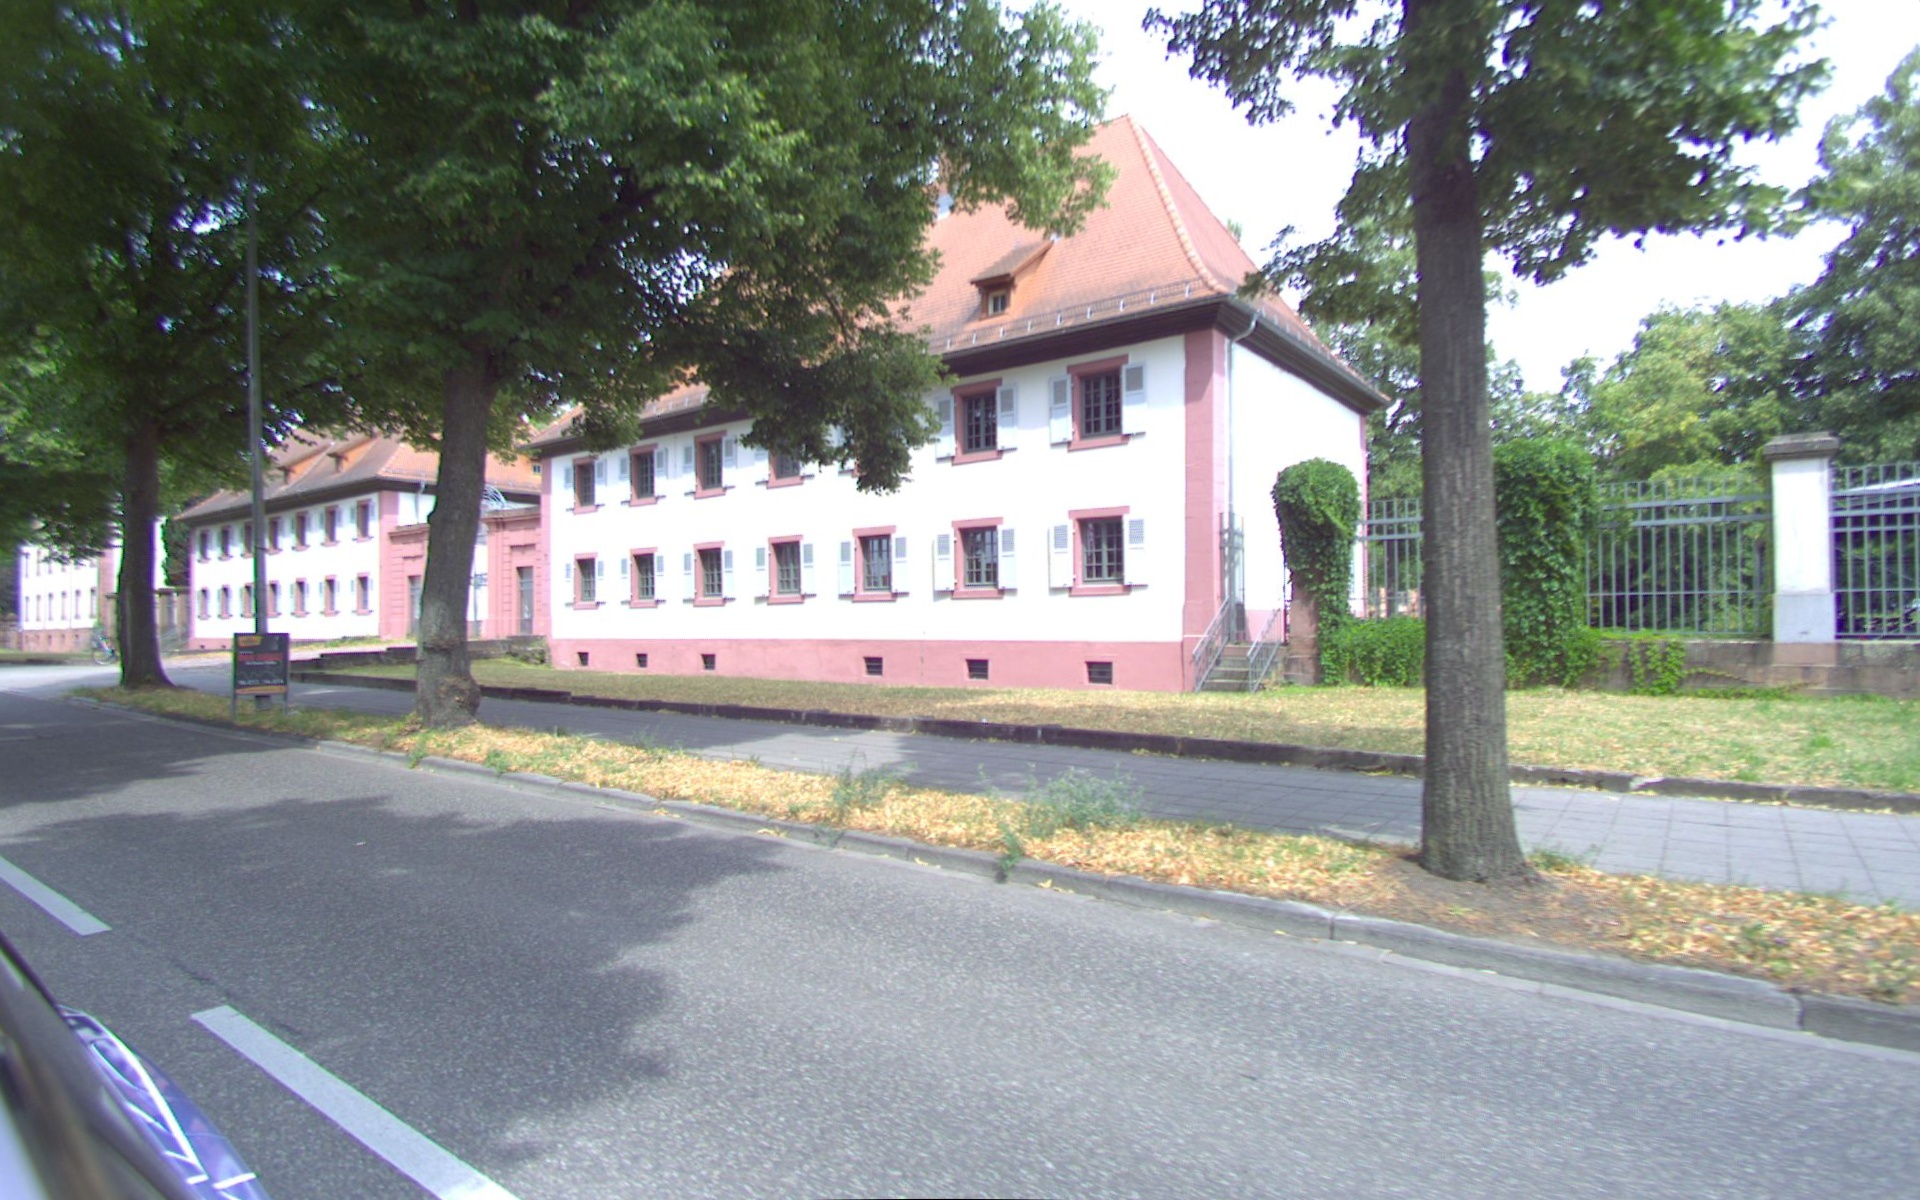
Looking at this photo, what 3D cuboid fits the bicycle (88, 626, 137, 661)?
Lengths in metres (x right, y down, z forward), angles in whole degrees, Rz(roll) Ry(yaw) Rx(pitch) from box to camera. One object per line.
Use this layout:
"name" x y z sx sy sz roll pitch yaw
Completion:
"bicycle" -28.211 1.455 33.666 2.221 1.103 0.716 -2 1 37
